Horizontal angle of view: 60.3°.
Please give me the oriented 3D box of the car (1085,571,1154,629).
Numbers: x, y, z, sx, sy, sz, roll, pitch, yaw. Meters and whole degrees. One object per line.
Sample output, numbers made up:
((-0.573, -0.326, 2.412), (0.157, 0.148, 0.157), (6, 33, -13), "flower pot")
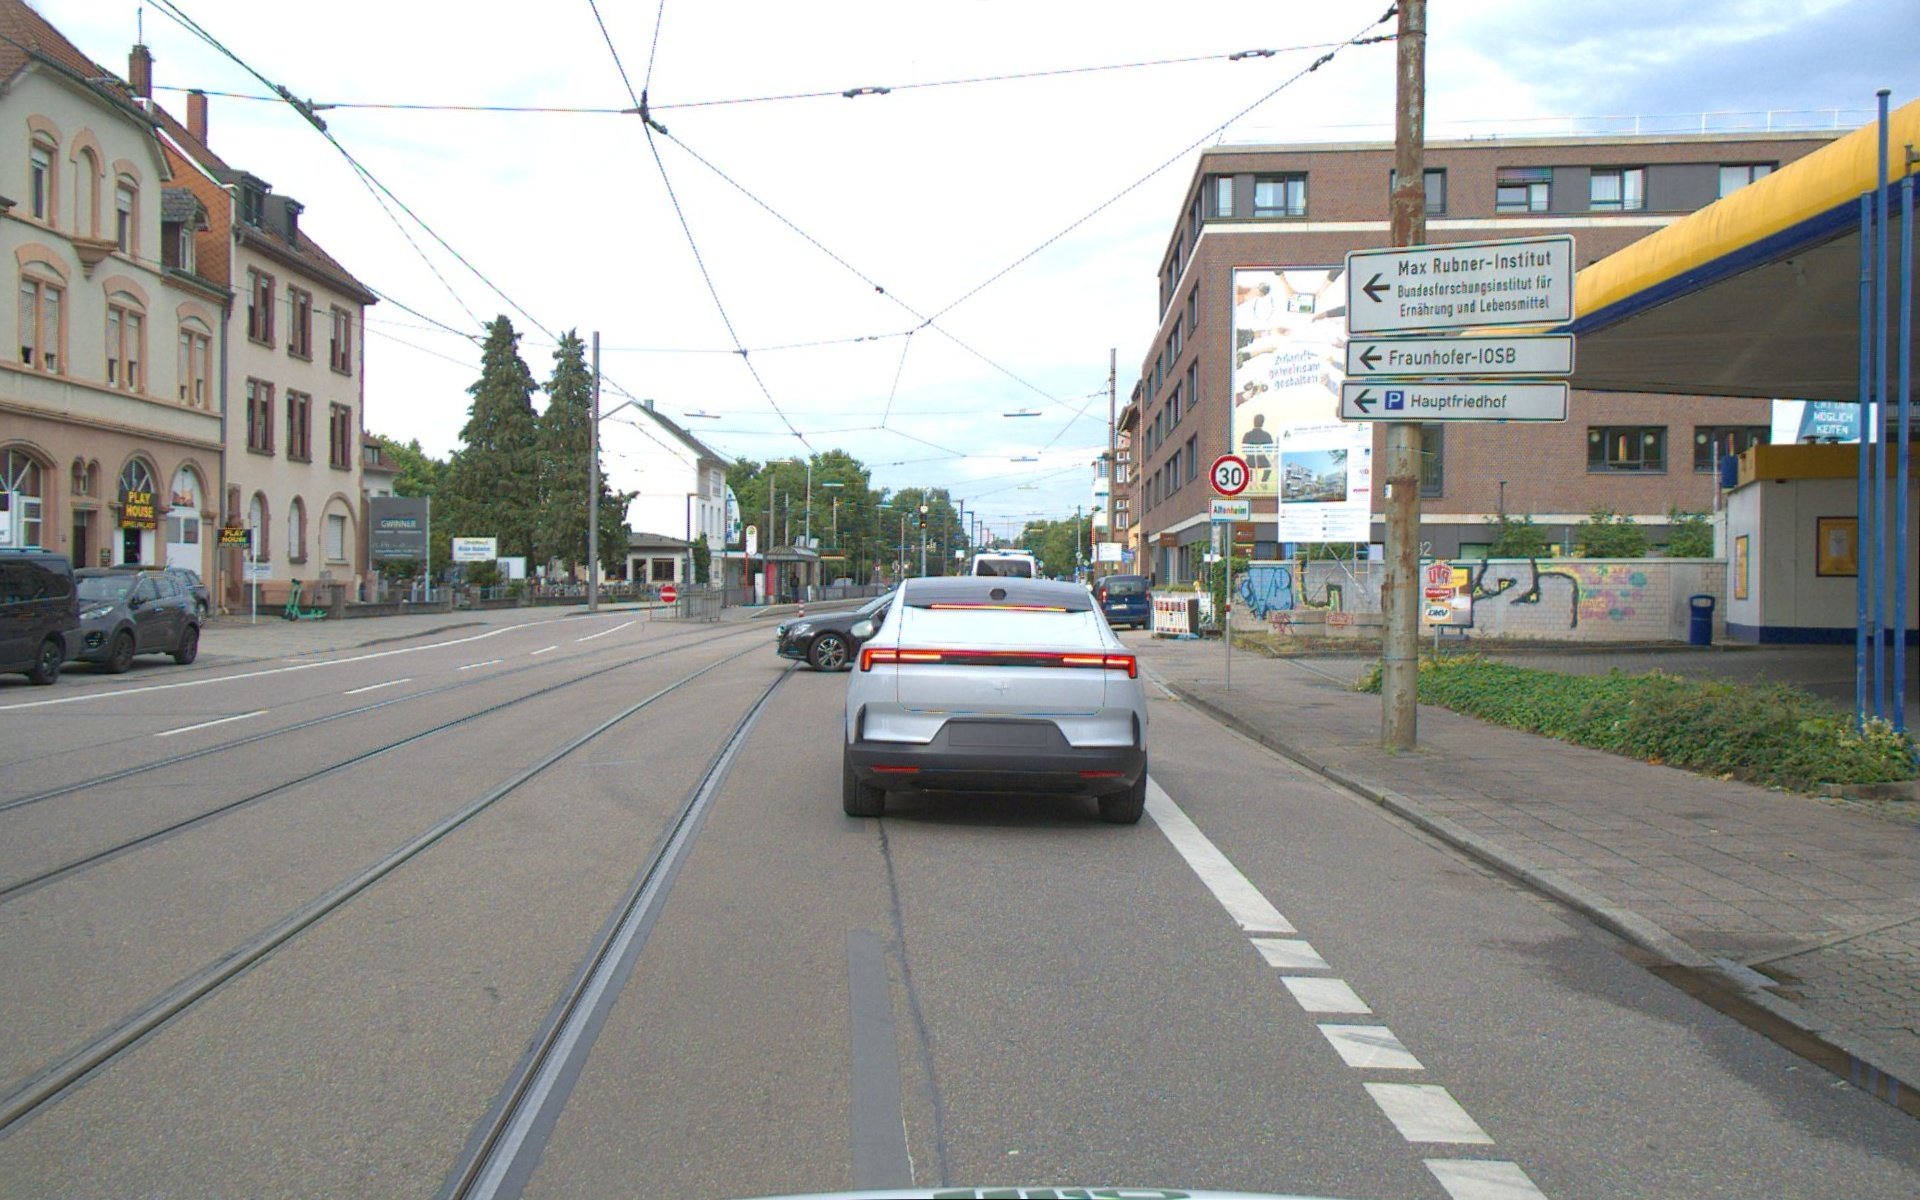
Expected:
((5.410, 0.003, 56.561), (1.837, 1.855, 4.095), (2, 0, -2), "car")

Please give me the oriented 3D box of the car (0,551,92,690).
((-14.174, 0.257, 22.695), (1.952, 1.920, 4.996), (2, 0, -2), "car")

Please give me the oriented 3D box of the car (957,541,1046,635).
((1.135, -0.323, 47.426), (2.172, 2.465, 4.949), (2, 0, -2), "car")

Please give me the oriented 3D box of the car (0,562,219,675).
((-14.613, 0.296, 28.602), (1.808, 1.748, 4.191), (2, 0, -3), "car")

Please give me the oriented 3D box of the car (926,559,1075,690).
((0.536, 0.345, 25.192), (1.929, 1.787, 3.835), (2, 0, -3), "car")

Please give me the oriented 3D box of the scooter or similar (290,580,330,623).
((-19.113, 0.044, 48.632), (1.041, 1.209, 0.314), (2, 0, -37), "scooter or similar")

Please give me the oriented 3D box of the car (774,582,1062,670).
((-0.774, 0.426, 28.668), (4.782, 1.452, 1.948), (0, 1, -10), "car")

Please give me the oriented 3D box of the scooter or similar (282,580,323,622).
((-19.510, 0.035, 49.072), (1.041, 1.209, 0.314), (2, 0, -37), "scooter or similar")

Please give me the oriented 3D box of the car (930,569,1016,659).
((0.262, 0.331, 40.671), (1.953, 2.049, 3.999), (2, 0, -1), "car")

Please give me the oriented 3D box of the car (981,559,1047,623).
((1.935, -0.320, 60.970), (2.096, 2.183, 4.742), (2, 0, -1), "car")

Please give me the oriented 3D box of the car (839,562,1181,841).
((0.150, 0.577, 11.726), (1.943, 1.577, 4.179), (2, 0, -5), "car")

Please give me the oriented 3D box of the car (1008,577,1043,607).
((4.680, -0.592, 118.638), (1.955, 2.049, 3.996), (2, 0, -5), "car")
